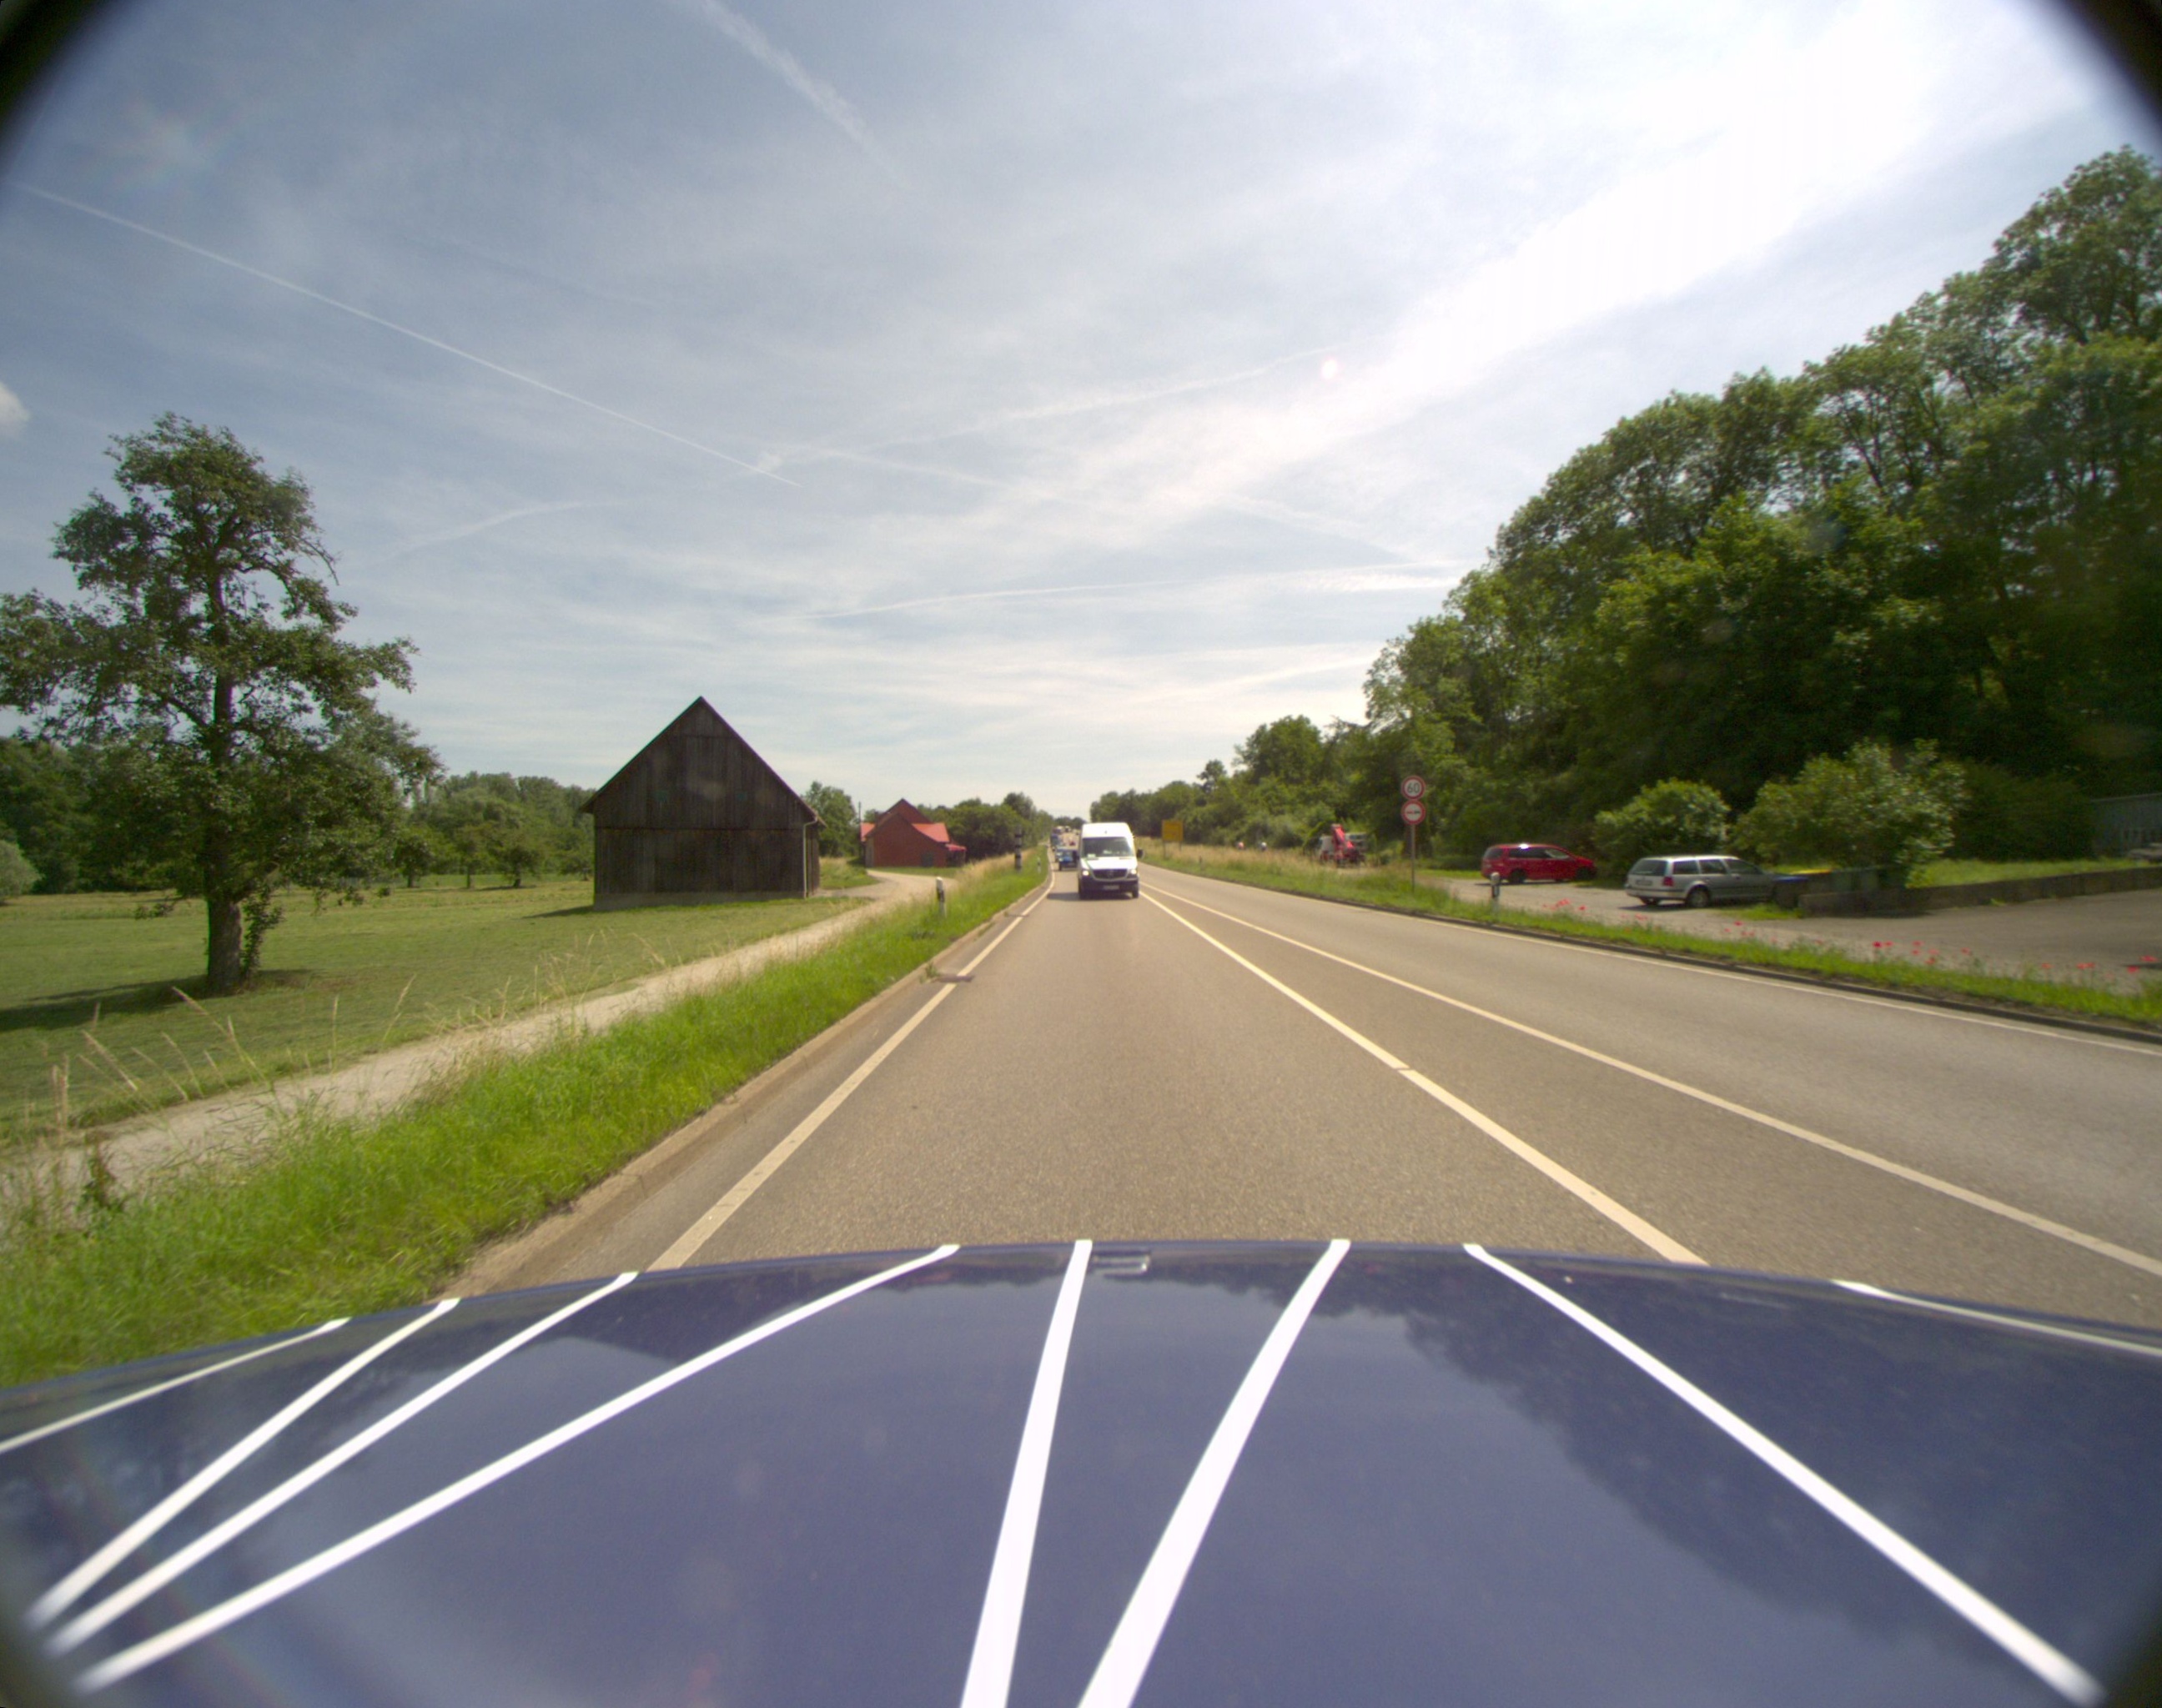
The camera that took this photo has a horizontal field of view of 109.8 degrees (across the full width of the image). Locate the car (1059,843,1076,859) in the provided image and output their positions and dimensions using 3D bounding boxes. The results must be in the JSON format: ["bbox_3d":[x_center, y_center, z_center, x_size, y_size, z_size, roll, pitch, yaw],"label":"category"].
[{"bbox_3d":[-1.537,-0.391,86.854,1.849,1.692,4.240,-1,2,-2],"label":"car"}]

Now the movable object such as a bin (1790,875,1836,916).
[{"bbox_3d":[18.415,1.024,19.116,0.505,0.964,0.654,-2,2,-7],"label":"movable object such as a bin"}]

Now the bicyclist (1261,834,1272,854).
[{"bbox_3d":[16.419,-0.892,67.245,0.750,1.705,0.936,-2,1,3],"label":"bicyclist"}]

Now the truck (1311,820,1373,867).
[{"bbox_3d":[17.995,-0.754,52.846,2.031,2.947,6.772,-2,1,1],"label":"truck"}]

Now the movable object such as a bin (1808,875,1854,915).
[{"bbox_3d":[18.947,1.029,19.201,0.505,0.965,0.654,-2,2,-7],"label":"movable object such as a bin"}]

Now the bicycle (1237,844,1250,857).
[{"bbox_3d":[15.210,-0.322,71.367,0.750,1.205,2.104,-2,1,1],"label":"bicycle"}]

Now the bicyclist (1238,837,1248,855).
[{"bbox_3d":[15.188,-0.769,71.305,0.750,1.586,0.936,-2,1,1],"label":"bicyclist"}]

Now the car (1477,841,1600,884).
[{"bbox_3d":[18.991,0.334,31.665,4.037,1.609,1.833,-2,1,1],"label":"car"}]

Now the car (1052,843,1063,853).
[{"bbox_3d":[-4.082,-1.110,132.588,1.849,1.692,4.240,-1,2,-2],"label":"car"}]

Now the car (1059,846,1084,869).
[{"bbox_3d":[-0.679,0.266,58.699,1.848,1.692,4.243,-1,-1,0],"label":"car"}]

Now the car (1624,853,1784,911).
[{"bbox_3d":[17.731,0.771,21.696,3.387,1.457,1.609,-2,1,-6],"label":"car"}]

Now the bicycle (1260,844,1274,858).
[{"bbox_3d":[16.434,-0.290,67.134,0.750,1.174,2.105,-2,1,3],"label":"bicycle"}]

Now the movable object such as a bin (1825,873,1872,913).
[{"bbox_3d":[19.472,0.979,19.285,0.505,0.971,0.654,-2,2,-7],"label":"movable object such as a bin"}]

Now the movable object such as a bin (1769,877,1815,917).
[{"bbox_3d":[17.863,1.076,19.099,0.505,0.931,0.654,-2,2,-7],"label":"movable object such as a bin"}]

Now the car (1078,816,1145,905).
[{"bbox_3d":[0.949,0.179,26.029,1.960,2.655,5.680,-2,1,0],"label":"car"}]

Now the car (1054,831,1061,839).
[{"bbox_3d":[-7.005,-5.638,225.957,1.998,2.166,4.000,-2,1,1],"label":"car"}]
